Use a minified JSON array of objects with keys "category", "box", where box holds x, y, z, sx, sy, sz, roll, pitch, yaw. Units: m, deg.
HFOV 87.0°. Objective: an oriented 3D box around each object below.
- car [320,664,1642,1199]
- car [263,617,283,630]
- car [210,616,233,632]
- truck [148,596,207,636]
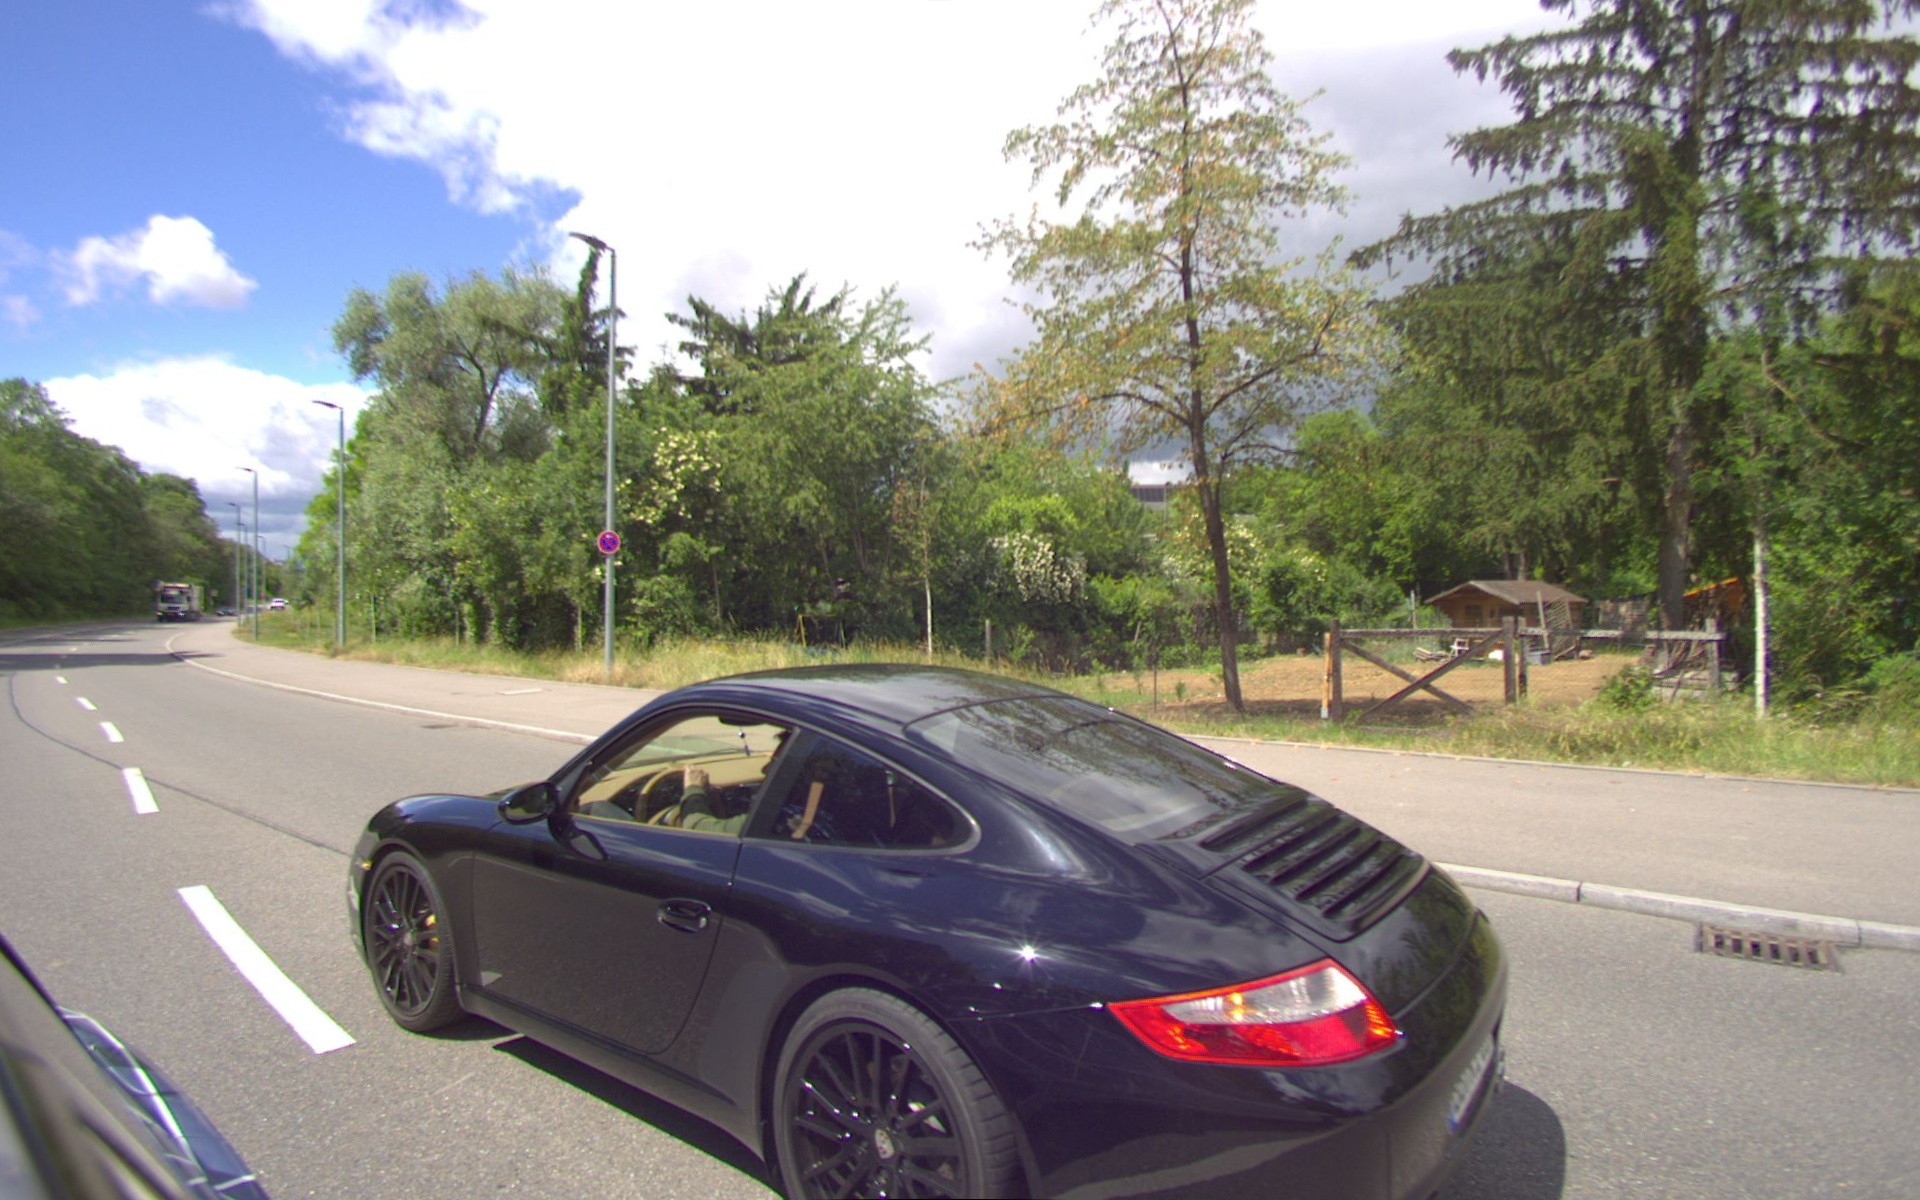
[{"category":"car","box":[-0.262,0.947,3.249,3.997,1.311,1.718,-1,-1,37]},{"category":"car","box":[-93.908,3.197,138.351,1.773,1.674,4.013,1,-1,-28]},{"category":"car","box":[-95.951,3.057,131.446,1.966,2.029,4.012,1,-1,-30]},{"category":"truck","box":[-79.781,1.640,103.383,3.187,3.890,9.904,1,-1,-29]}]
